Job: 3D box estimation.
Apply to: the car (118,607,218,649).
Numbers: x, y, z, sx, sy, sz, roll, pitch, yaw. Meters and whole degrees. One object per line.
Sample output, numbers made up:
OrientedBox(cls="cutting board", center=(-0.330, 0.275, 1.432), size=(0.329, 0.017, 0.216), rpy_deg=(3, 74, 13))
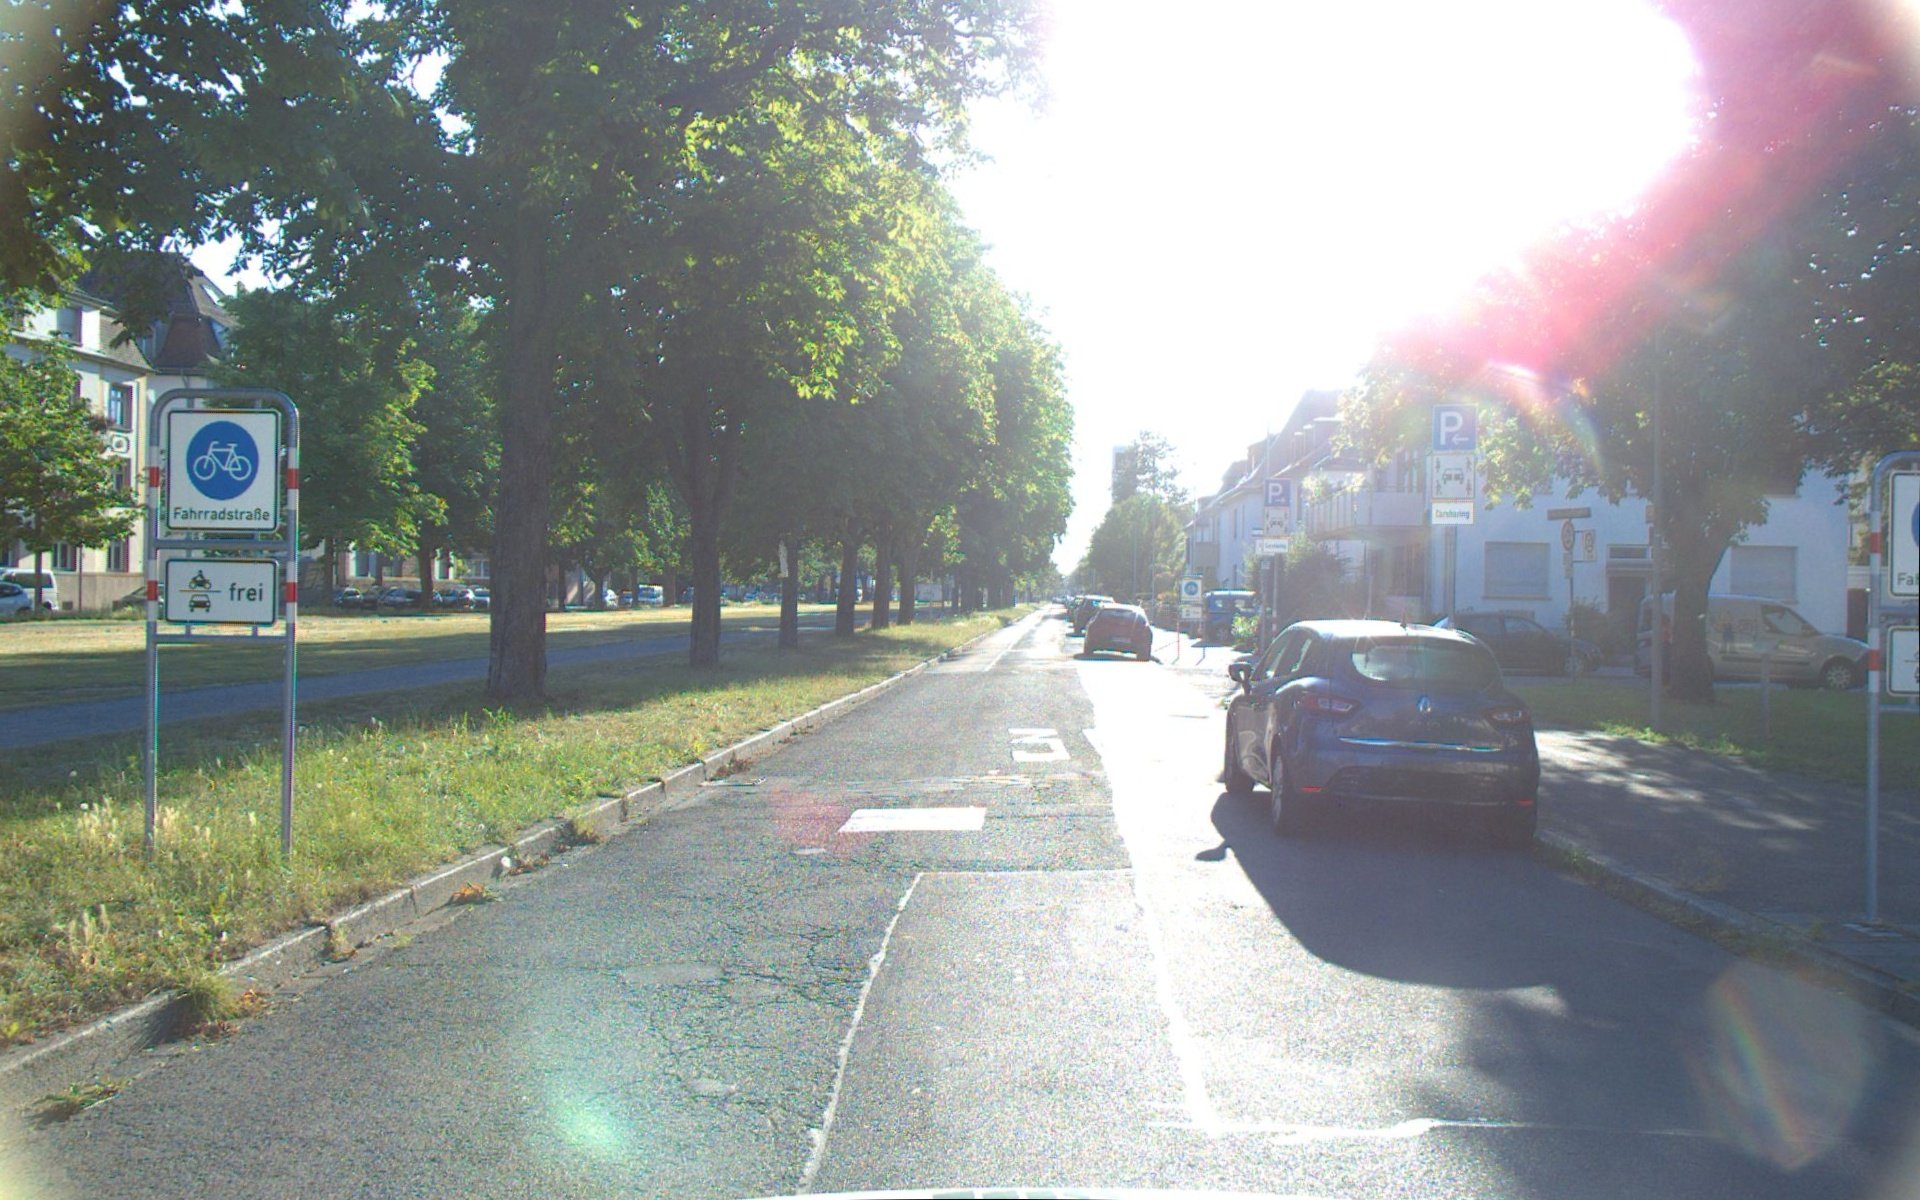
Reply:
OrientedBox(cls="car", center=(-35.349, 1.224, 73.962), size=(1.951, 1.688, 4.573), rpy_deg=(2, 0, 5))

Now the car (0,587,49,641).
OrientedBox(cls="car", center=(-31.273, 0.448, 52.808), size=(1.758, 1.581, 4.421), rpy_deg=(3, 1, 2))

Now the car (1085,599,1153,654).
OrientedBox(cls="car", center=(4.379, 0.710, 46.051), size=(1.674, 1.383, 4.205), rpy_deg=(2, 0, 3))

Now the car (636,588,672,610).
OrientedBox(cls="car", center=(-25.638, -0.089, 138.838), size=(1.980, 1.688, 3.986), rpy_deg=(2, 0, 4))

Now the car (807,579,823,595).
OrientedBox(cls="car", center=(-19.633, -1.740, 224.426), size=(1.620, 1.972, 3.568), rpy_deg=(2, -1, 3))

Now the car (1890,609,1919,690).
OrientedBox(cls="car", center=(20.097, 0.963, 31.856), size=(3.482, 1.542, 1.605), rpy_deg=(0, 0, -2))

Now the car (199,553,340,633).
OrientedBox(cls="car", center=(-30.113, -0.347, 72.519), size=(2.342, 3.185, 7.857), rpy_deg=(3, 1, 4))

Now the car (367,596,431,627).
OrientedBox(cls="car", center=(-33.368, 0.659, 98.419), size=(1.951, 1.688, 4.377), rpy_deg=(2, 0, 5))

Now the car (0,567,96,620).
OrientedBox(cls="car", center=(-36.493, -0.272, 65.409), size=(1.952, 1.984, 4.879), rpy_deg=(0, 1, 2))

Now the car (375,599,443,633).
OrientedBox(cls="car", center=(-29.267, 0.840, 87.948), size=(1.840, 1.703, 4.317), rpy_deg=(2, 0, 4))

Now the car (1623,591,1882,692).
OrientedBox(cls="car", center=(15.516, 0.787, 32.582), size=(4.153, 1.908, 2.031), rpy_deg=(0, 0, 3))

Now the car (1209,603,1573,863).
OrientedBox(cls="car", center=(3.037, 0.836, 12.622), size=(1.690, 1.537, 4.542), rpy_deg=(2, 0, 2))

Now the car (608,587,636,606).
OrientedBox(cls="car", center=(-31.126, -0.294, 152.399), size=(1.605, 1.671, 3.855), rpy_deg=(2, 0, 2))

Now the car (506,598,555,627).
OrientedBox(cls="car", center=(-27.989, 0.789, 107.973), size=(1.773, 1.812, 4.124), rpy_deg=(2, 0, 4))

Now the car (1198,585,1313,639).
OrientedBox(cls="car", center=(10.866, 0.453, 61.025), size=(3.906, 1.854, 1.759), rpy_deg=(0, -5, -1))

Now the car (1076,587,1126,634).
OrientedBox(cls="car", center=(6.102, 0.425, 71.835), size=(1.952, 1.812, 4.002), rpy_deg=(2, 1, 2))

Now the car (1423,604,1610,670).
OrientedBox(cls="car", center=(13.175, 0.858, 39.310), size=(3.903, 1.472, 1.717), rpy_deg=(1, 0, 3))

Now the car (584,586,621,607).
OrientedBox(cls="car", center=(-31.198, -0.293, 144.478), size=(1.951, 1.688, 4.358), rpy_deg=(2, 0, 5))
